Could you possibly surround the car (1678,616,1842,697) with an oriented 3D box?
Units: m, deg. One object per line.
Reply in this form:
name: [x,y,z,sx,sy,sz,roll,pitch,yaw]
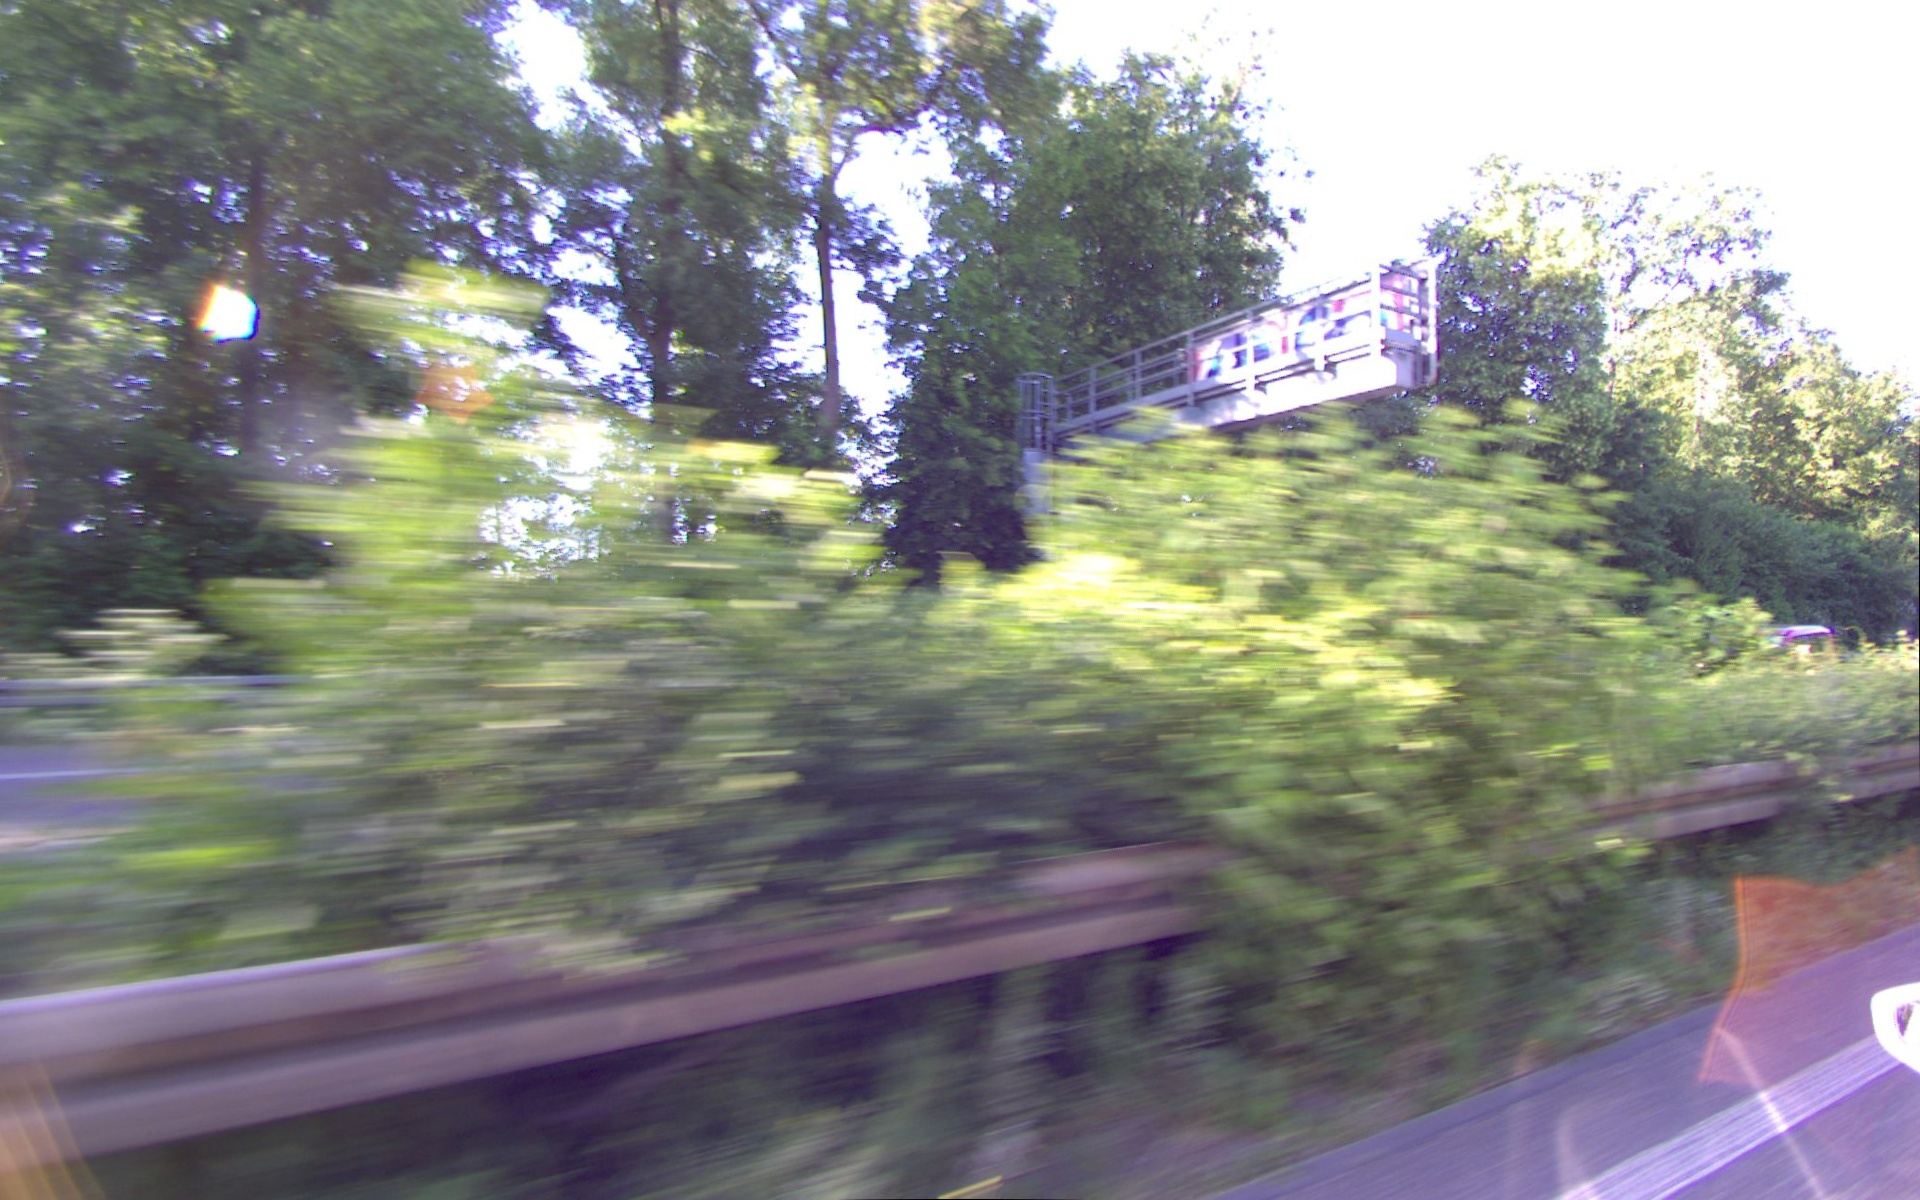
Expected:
car: [19.974,1.383,25.043,4.474,1.834,1.708,2,0,-31]
